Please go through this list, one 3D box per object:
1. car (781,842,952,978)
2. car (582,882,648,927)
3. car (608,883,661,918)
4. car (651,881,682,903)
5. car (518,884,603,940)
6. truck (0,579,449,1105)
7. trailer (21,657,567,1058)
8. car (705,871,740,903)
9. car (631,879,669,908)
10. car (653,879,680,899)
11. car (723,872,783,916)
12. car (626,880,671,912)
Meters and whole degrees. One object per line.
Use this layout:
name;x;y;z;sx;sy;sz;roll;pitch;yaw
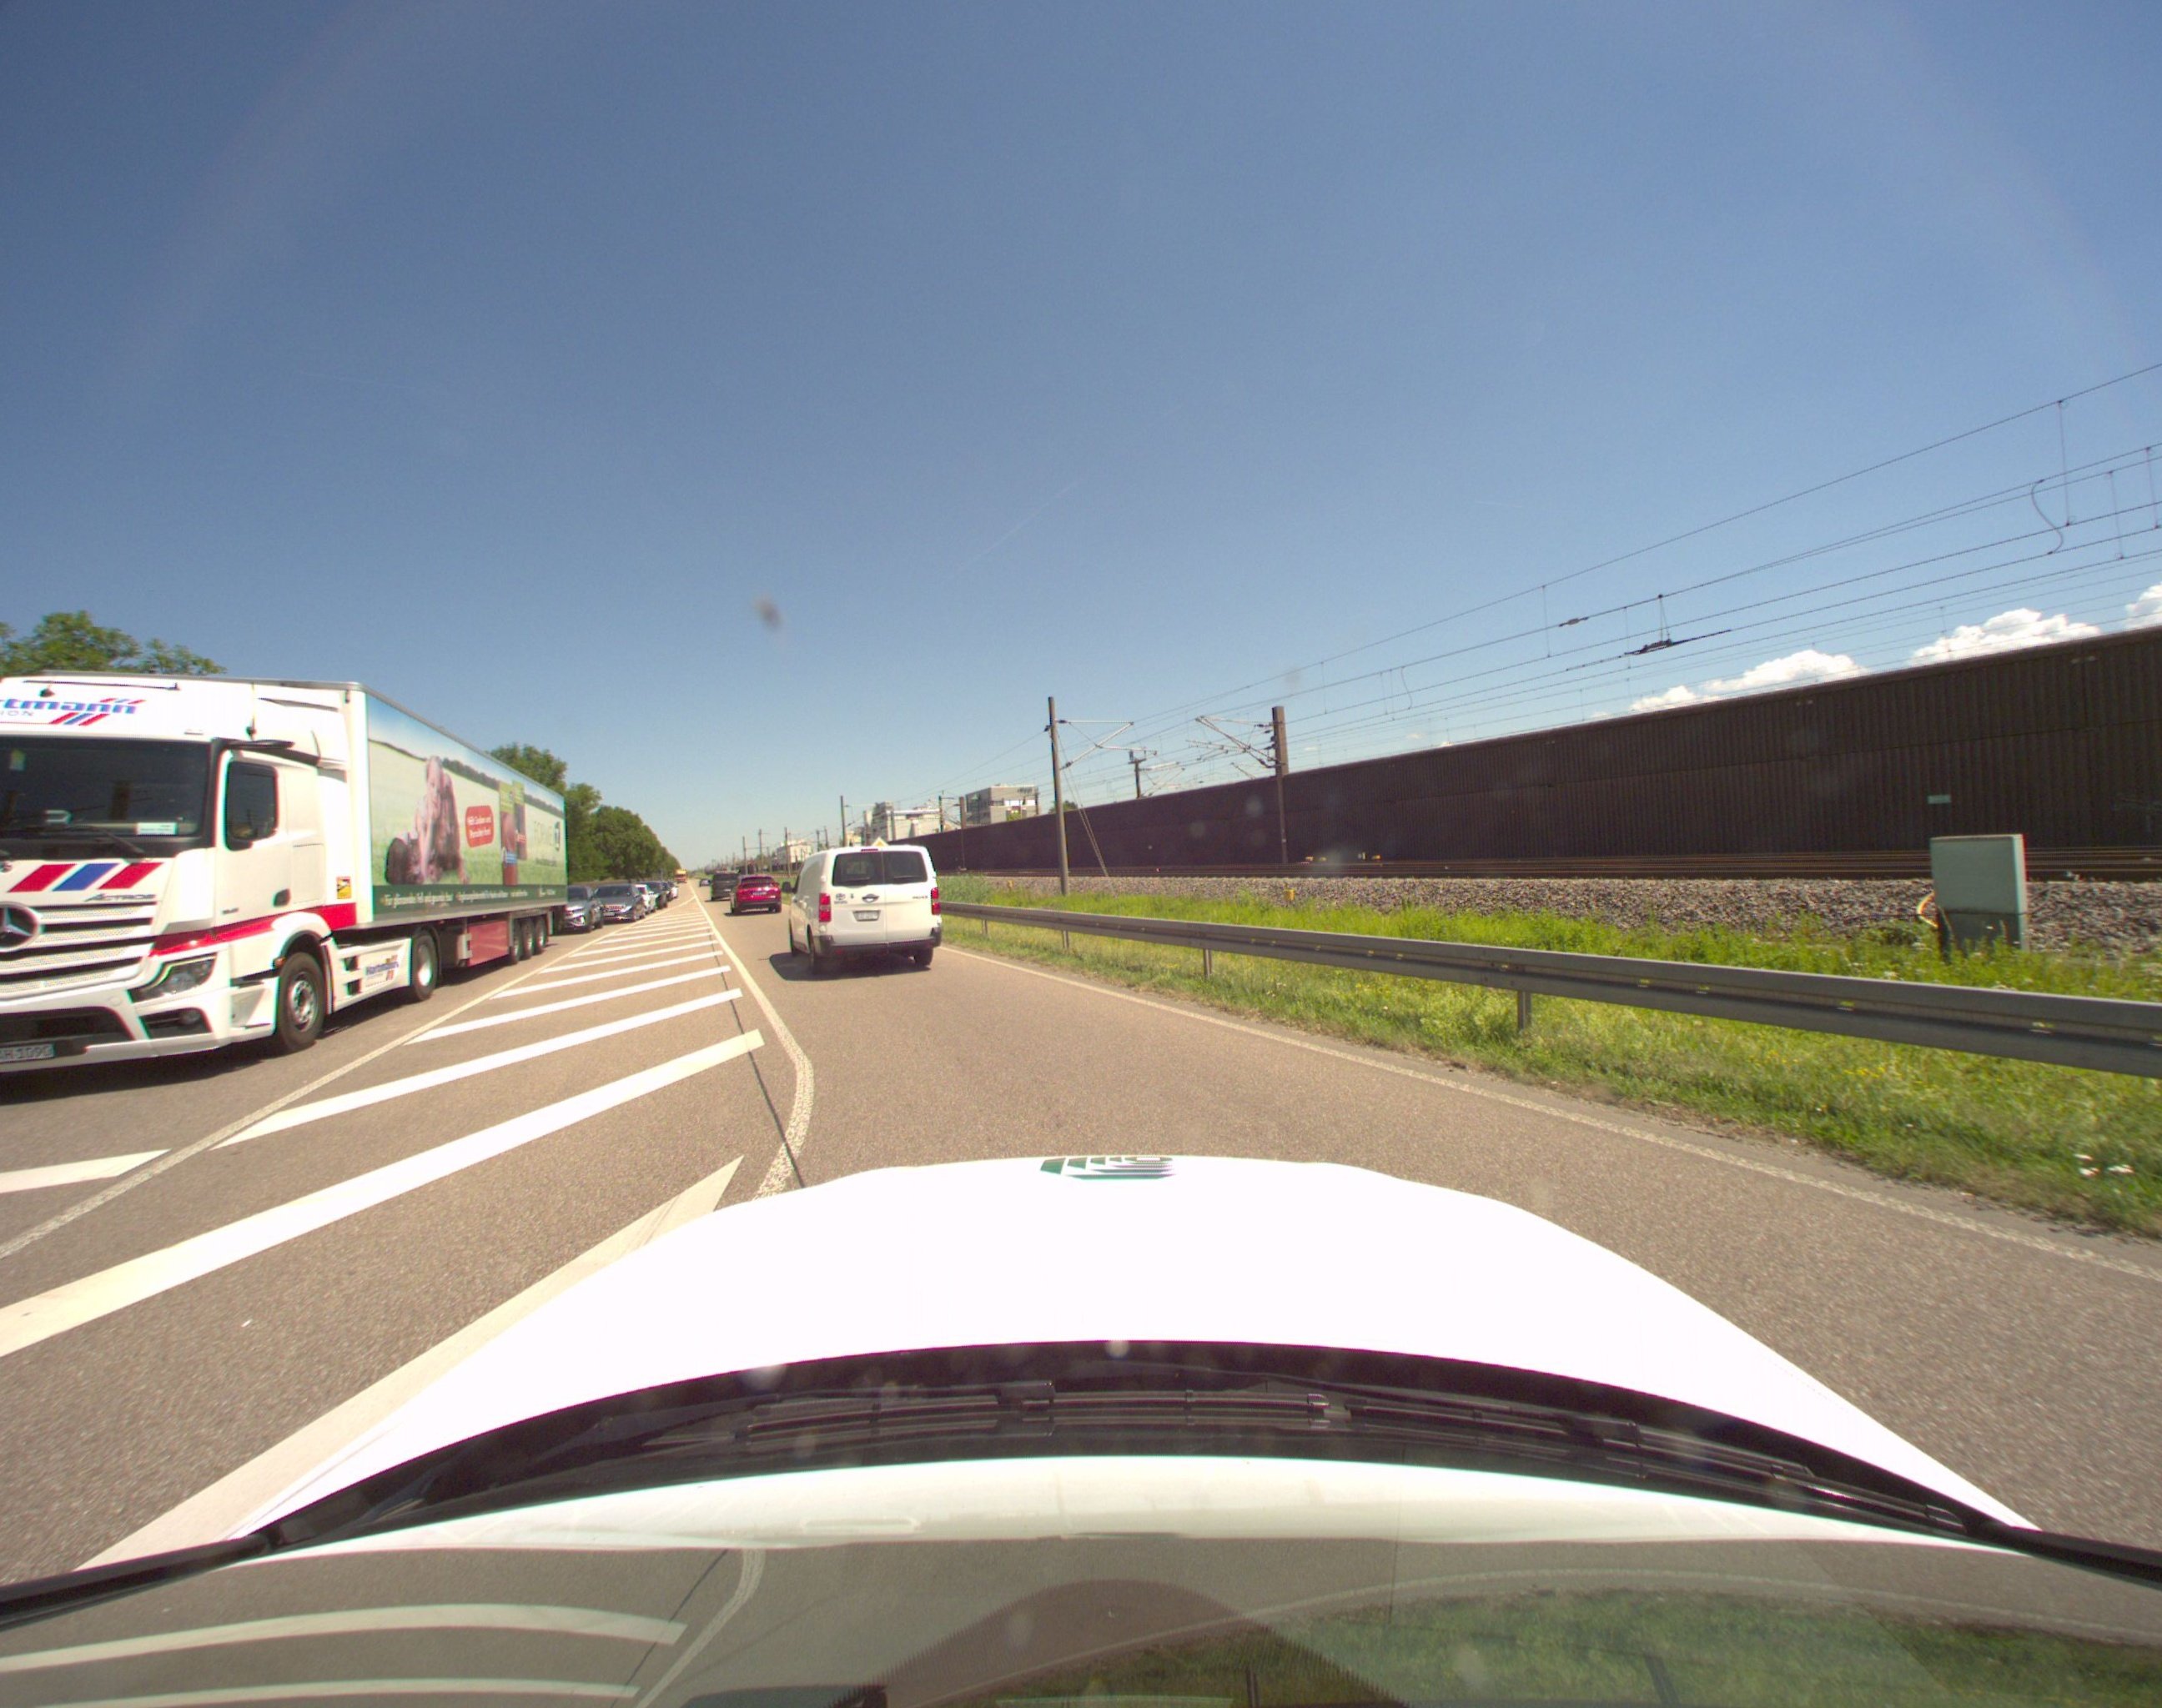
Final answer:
car;-3.879;0.865;14.004;1.956;1.882;4.839;-1;-2;-25
car;-18.696;1.974;32.839;1.631;1.537;4.352;-4;0;-22
car;-21.734;2.221;39.779;1.660;1.479;4.595;-3;0;-22
car;-30.539;2.772;60.110;1.693;1.460;4.579;-2;-1;-24
car;-17.325;1.867;27.276;1.720;1.562;4.121;-3;0;-24
truck;-9.470;-0.018;8.897;2.703;4.045;5.777;-2;-1;-25
trailer;-12.321;0.197;15.151;2.702;4.045;14.007;-2;-1;-25
car;-24.787;2.227;56.210;2.018;2.022;4.742;-2;0;-26
car;-28.074;2.546;53.181;1.763;1.631;4.246;-3;0;-23
car;-33.854;2.836;66.584;1.693;1.460;4.578;-2;-1;-24
car;-14.006;1.653;34.623;1.917;1.649;4.103;-2;-1;-28
car;-24.414;2.352;46.107;1.724;1.589;4.500;-3;0;-22
